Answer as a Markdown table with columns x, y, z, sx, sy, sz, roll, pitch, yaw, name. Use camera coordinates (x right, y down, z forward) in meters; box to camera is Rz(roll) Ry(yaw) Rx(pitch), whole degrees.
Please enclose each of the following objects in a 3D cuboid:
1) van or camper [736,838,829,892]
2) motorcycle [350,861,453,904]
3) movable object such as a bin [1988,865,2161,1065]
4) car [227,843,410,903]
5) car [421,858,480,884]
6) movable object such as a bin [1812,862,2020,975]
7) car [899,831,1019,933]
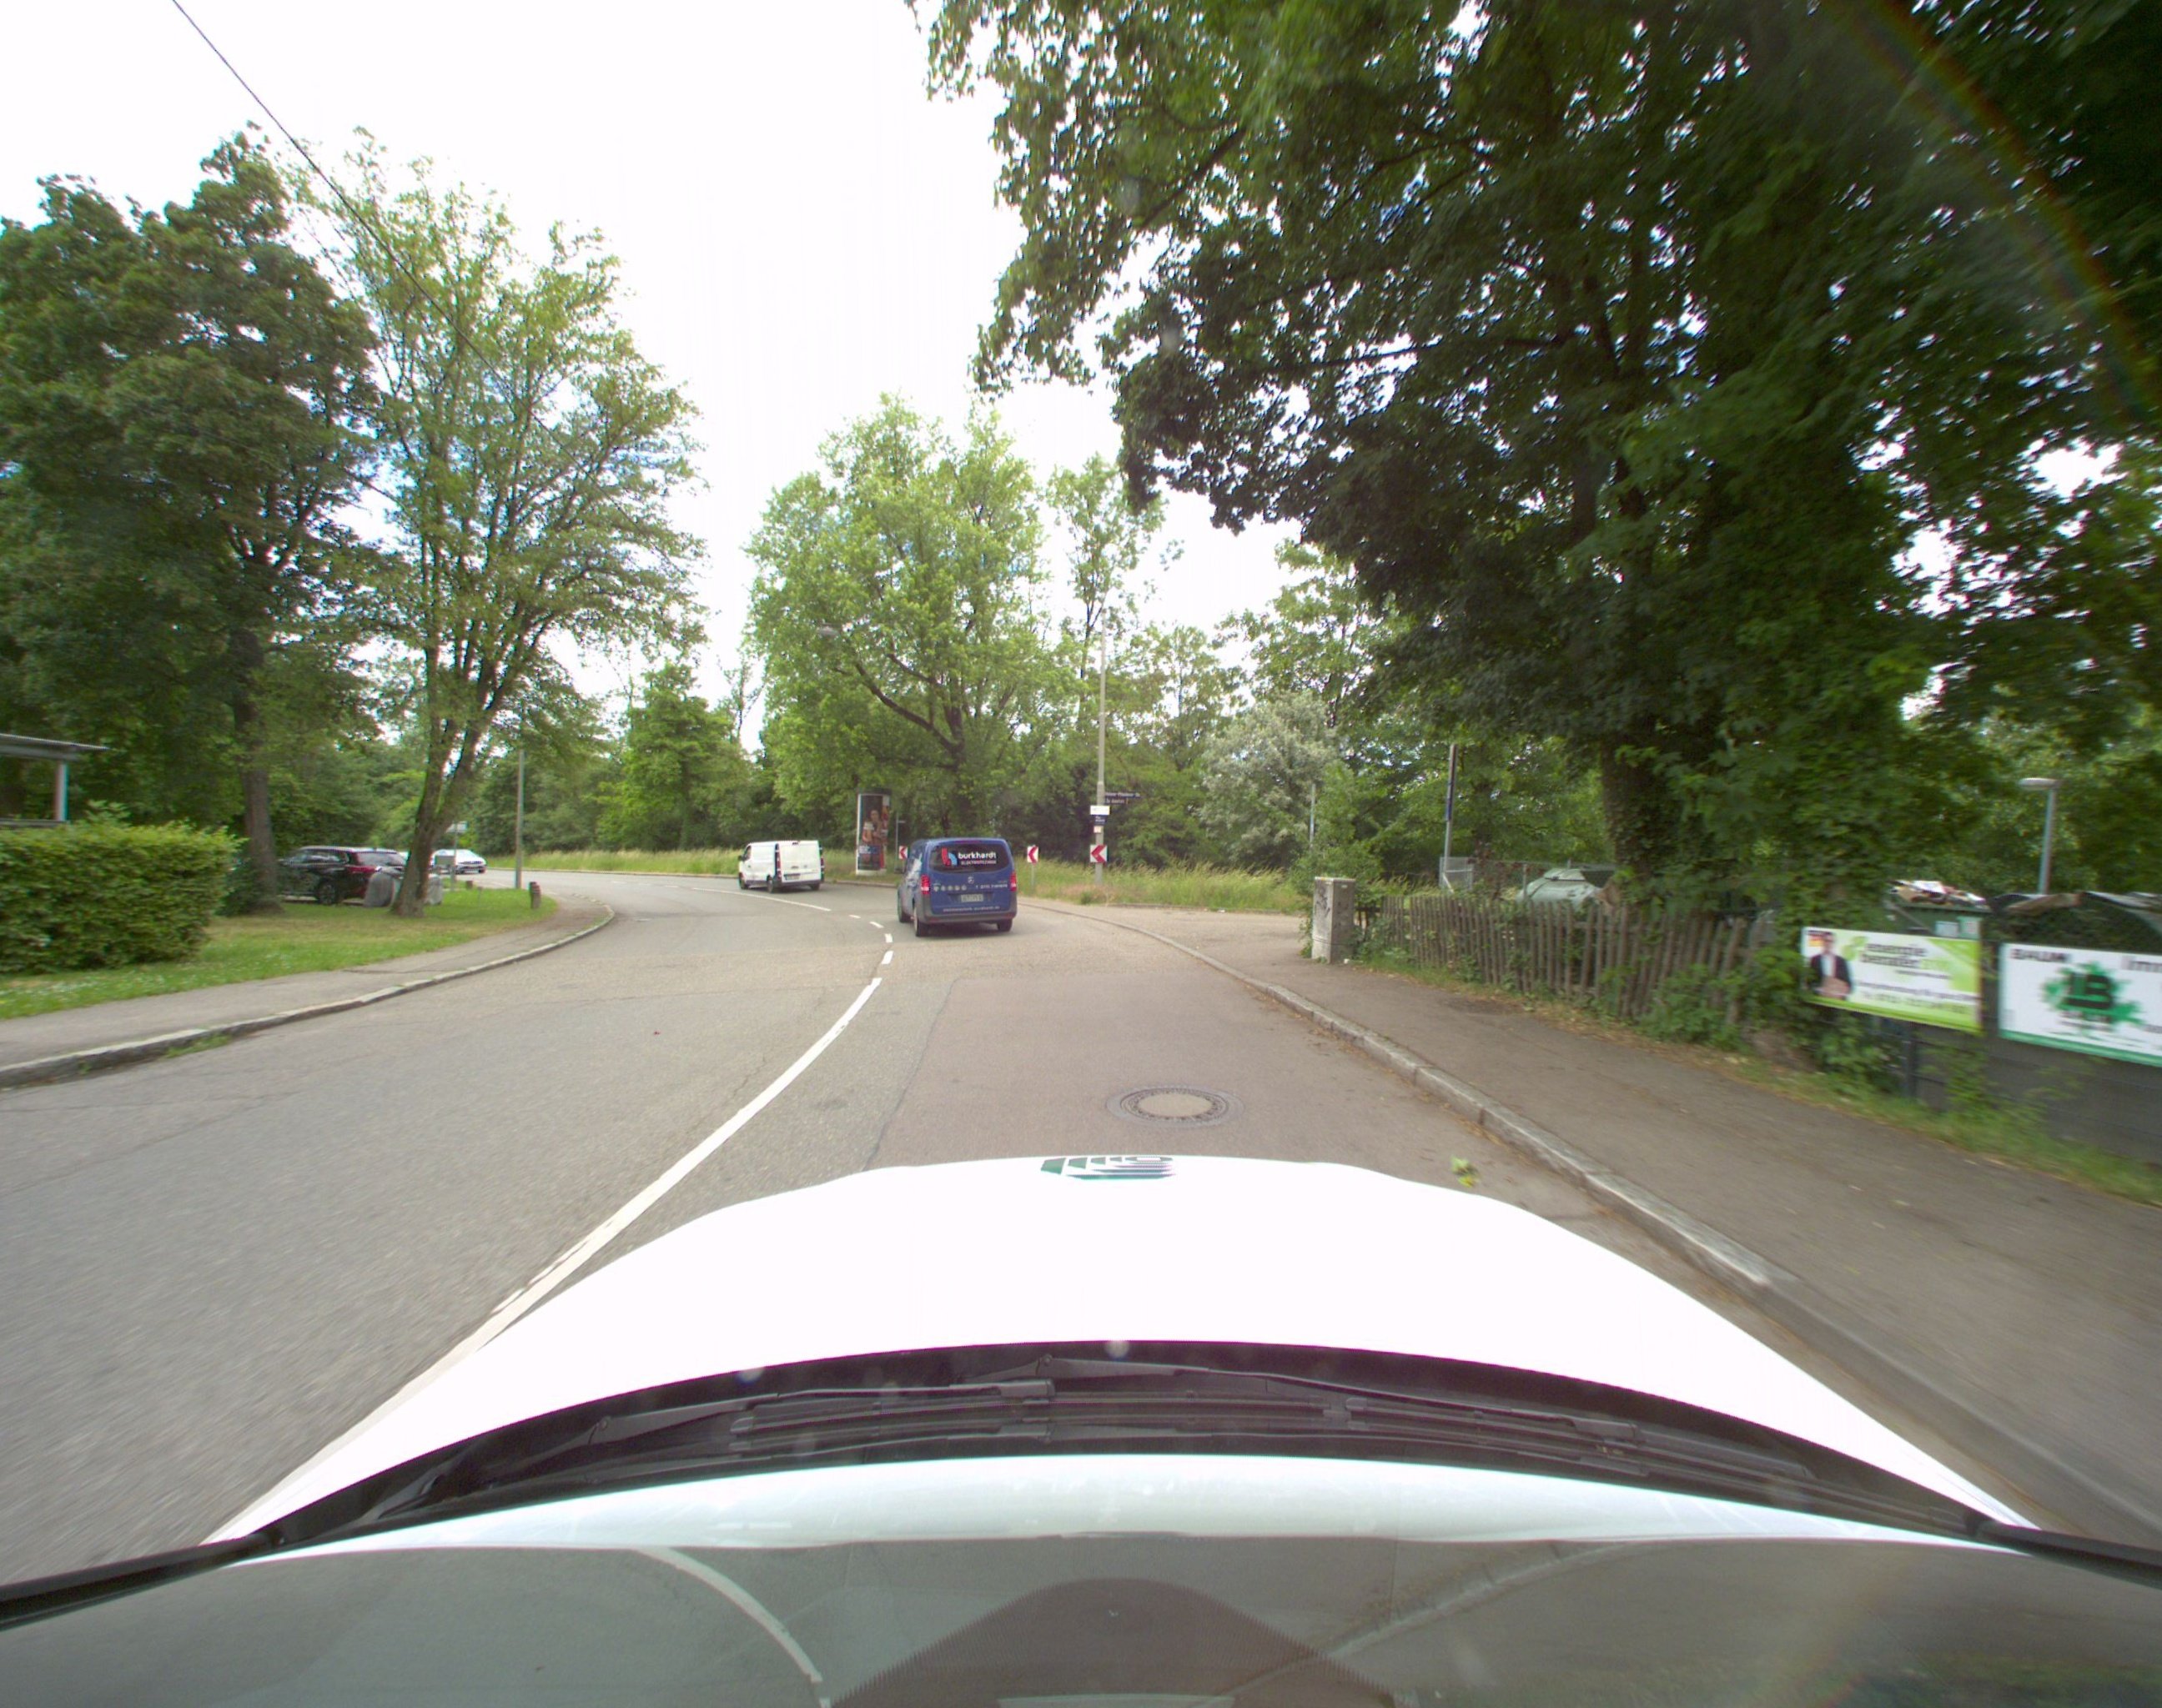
| x | y | z | sx | sy | sz | roll | pitch | yaw | name |
| --- | --- | --- | --- | --- | --- | --- | --- | --- | --- |
| -11.872 | 0.398 | 32.200 | 2.036 | 1.956 | 4.840 | -2 | 1 | -38 | van or camper |
| -19.156 | 0.793 | 23.028 | 0.856 | 1.152 | 2.075 | 0 | -2 | 15 | motorcycle |
| 10.721 | 1.013 | 7.581 | 2.095 | 1.787 | 2.208 | 1 | -2 | 1 | movable object such as a bin |
| -22.014 | 0.539 | 23.549 | 4.288 | 1.594 | 1.754 | 0 | -2 | 14 | car |
| -38.505 | 1.067 | 49.736 | 4.026 | 1.457 | 1.741 | -2 | 1 | 36 | car |
| 12.402 | 0.915 | 12.200 | 1.418 | 1.548 | 1.674 | 1 | -1 | -2 | movable object such as a bin |
| -2.686 | 0.529 | 17.027 | 1.917 | 1.838 | 4.270 | -1 | -1 | -16 | car |
